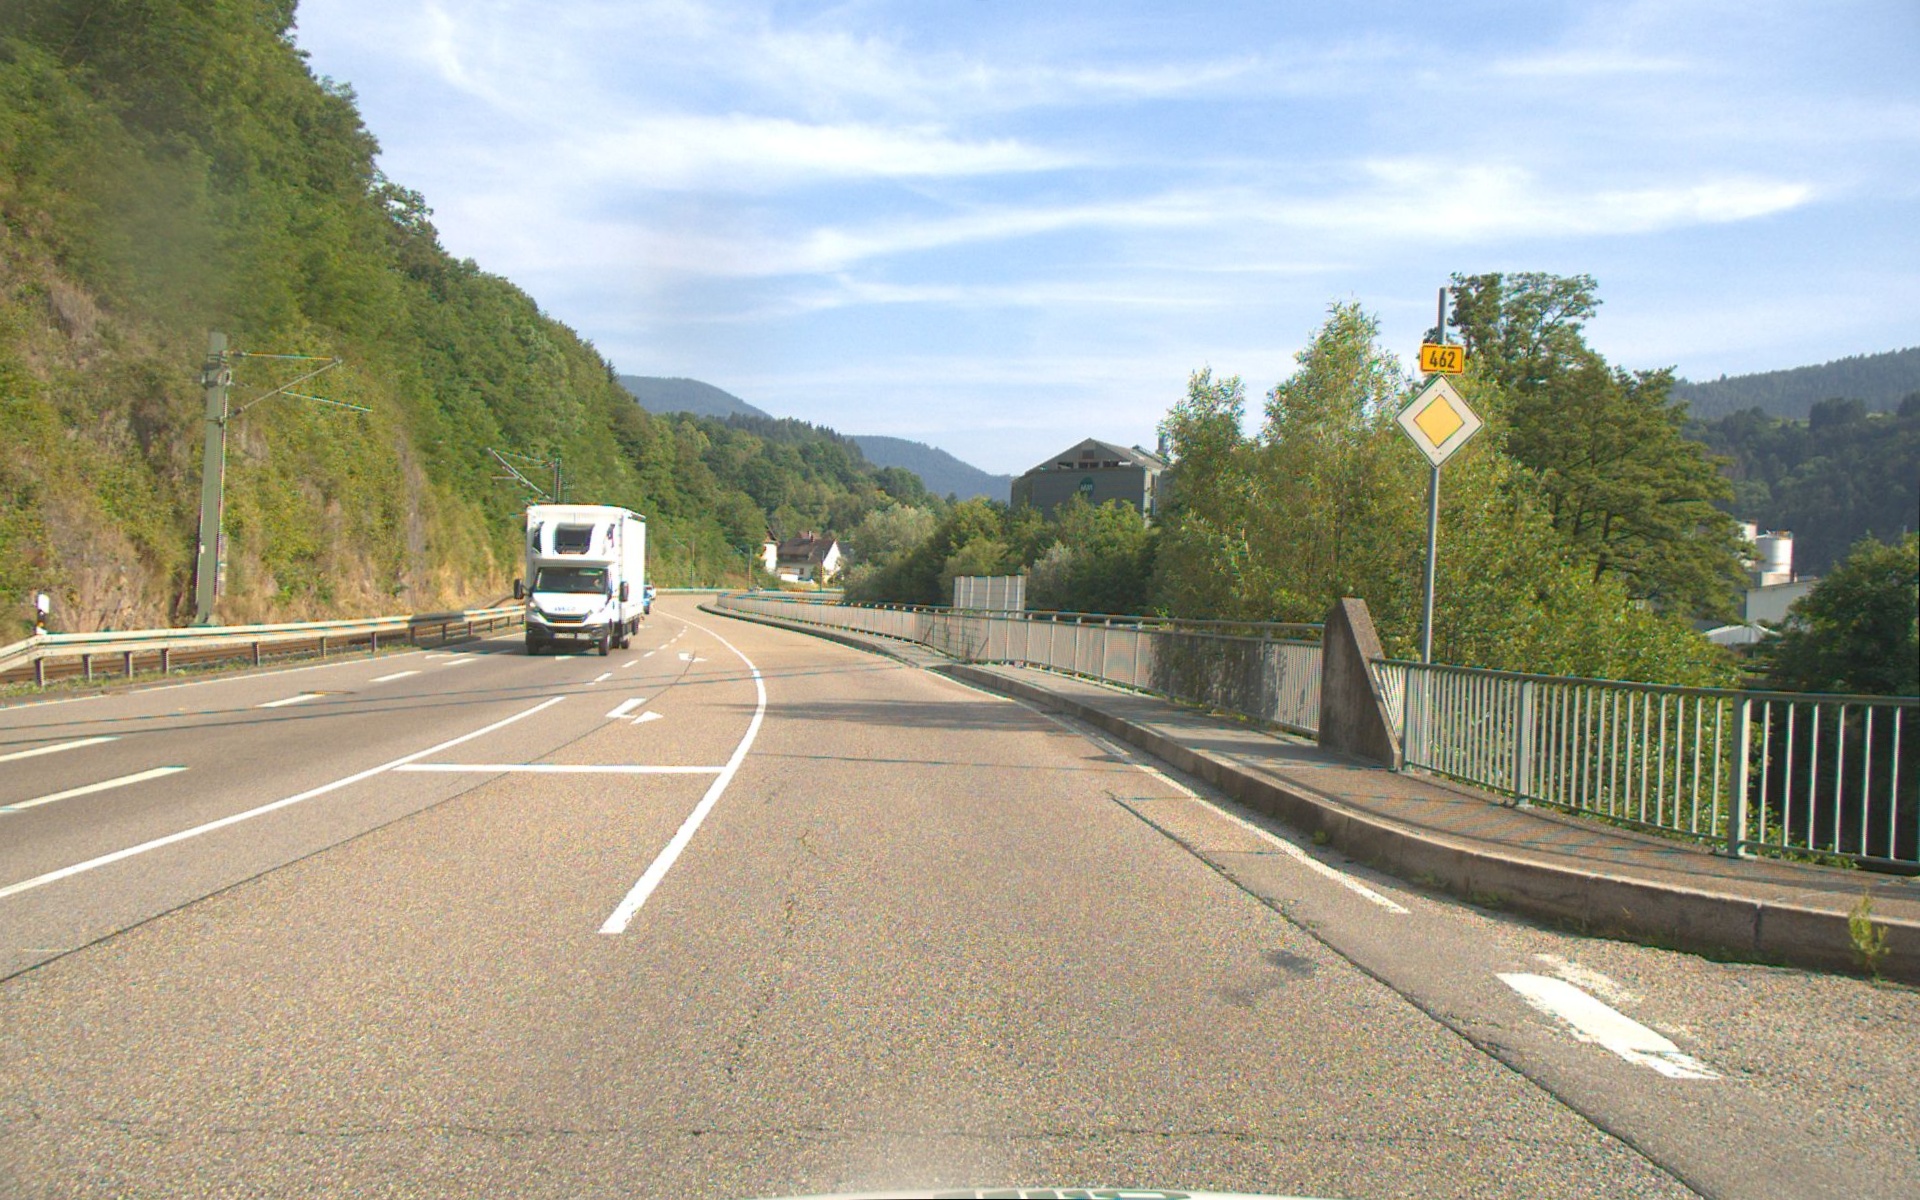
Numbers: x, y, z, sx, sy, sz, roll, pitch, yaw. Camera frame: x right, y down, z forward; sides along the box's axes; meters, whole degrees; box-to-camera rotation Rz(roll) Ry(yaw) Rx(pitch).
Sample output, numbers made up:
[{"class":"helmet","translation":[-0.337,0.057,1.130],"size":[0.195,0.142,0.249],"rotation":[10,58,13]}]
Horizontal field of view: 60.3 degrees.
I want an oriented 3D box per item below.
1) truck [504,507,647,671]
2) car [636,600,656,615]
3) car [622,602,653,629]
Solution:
[{"class":"truck","translation":[-10.009,-0.258,43.939],"size":[2.843,3.865,8.878],"rotation":[1,0,-8]},{"class":"car","translation":[-32.627,0.748,171.816],"size":[2.026,1.464,4.673],"rotation":[1,0,-11]},{"class":"car","translation":[-19.289,0.920,98.732],"size":[1.688,1.598,4.122],"rotation":[1,-1,-12]}]
